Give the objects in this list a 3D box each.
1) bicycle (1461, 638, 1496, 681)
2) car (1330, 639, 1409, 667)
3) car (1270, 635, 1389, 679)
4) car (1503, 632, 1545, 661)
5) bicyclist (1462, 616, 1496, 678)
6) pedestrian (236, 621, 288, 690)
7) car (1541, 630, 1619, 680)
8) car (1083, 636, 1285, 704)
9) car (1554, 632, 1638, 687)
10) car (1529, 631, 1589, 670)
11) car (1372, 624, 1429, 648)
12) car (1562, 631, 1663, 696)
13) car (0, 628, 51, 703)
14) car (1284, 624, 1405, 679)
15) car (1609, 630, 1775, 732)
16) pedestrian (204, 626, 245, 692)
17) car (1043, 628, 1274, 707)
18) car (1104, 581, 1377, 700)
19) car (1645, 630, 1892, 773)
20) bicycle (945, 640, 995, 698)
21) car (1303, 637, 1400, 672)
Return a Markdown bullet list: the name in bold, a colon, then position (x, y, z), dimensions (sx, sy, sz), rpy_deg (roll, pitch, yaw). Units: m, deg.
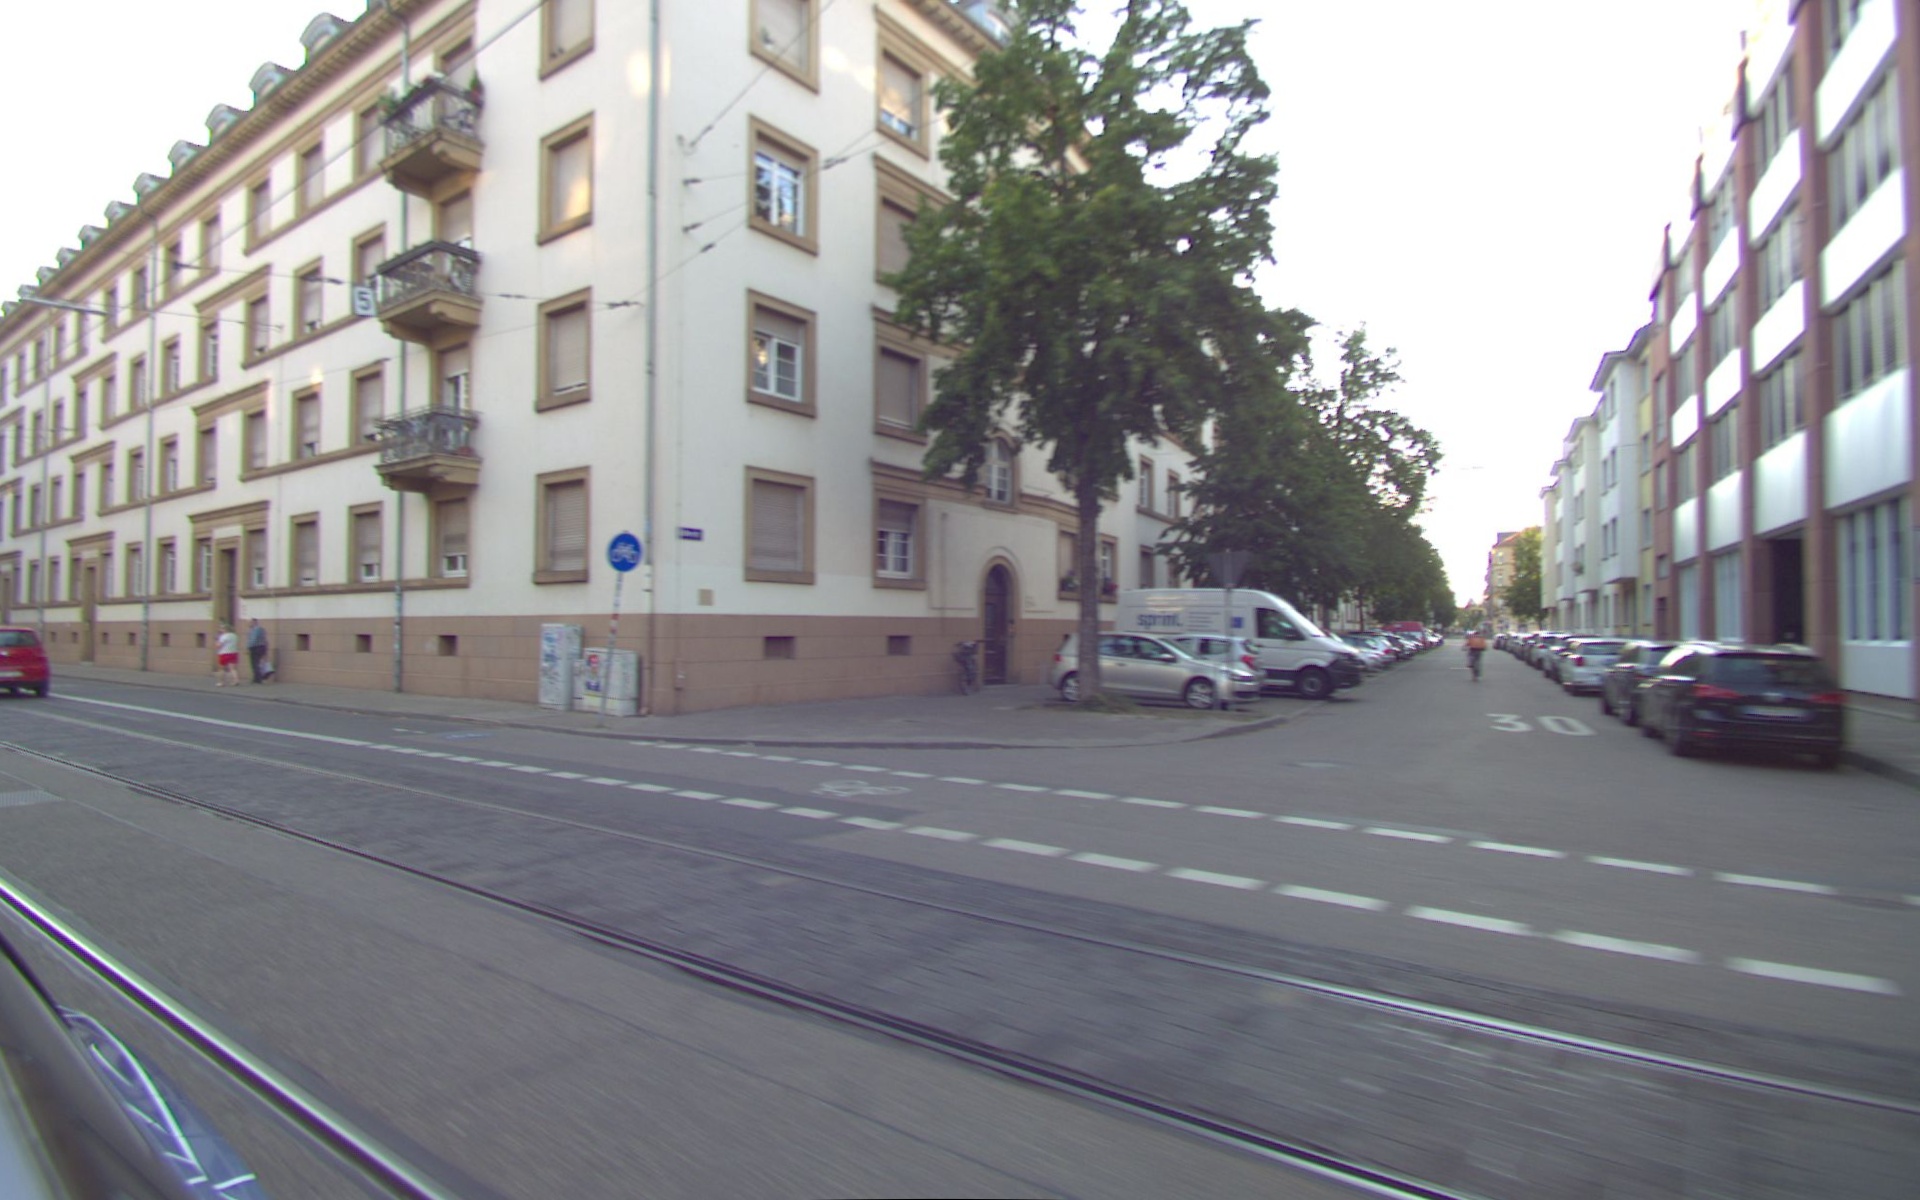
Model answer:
- **bicycle**: position (17.363, 1.967, 33.833), dimensions (0.953, 1.364, 3.150), rpy_deg (-1, -2, 28)
- **car**: position (23.102, 2.991, 57.102), dimensions (3.979, 1.530, 1.809), rpy_deg (-1, -2, 26)
- **car**: position (13.702, 2.089, 37.593), dimensions (3.979, 1.530, 1.809), rpy_deg (-1, -2, 26)
- **car**: position (32.291, 2.658, 57.991), dimensions (1.914, 1.615, 3.963), rpy_deg (-1, -2, 27)
- **bicyclist**: position (17.358, 1.551, 33.849), dimensions (0.943, 2.029, 1.206), rpy_deg (-1, -3, 29)
- **pedestrian**: position (-17.806, 1.391, 25.804), dimensions (0.979, 1.714, 0.788), rpy_deg (-2, -2, 35)
- **car**: position (21.182, 1.852, 34.703), dimensions (1.914, 1.615, 3.963), rpy_deg (-1, -2, 27)
- **car**: position (5.054, 1.536, 22.997), dimensions (4.162, 1.433, 1.777), rpy_deg (-1, -2, 29)
- **car**: position (18.924, 1.727, 30.267), dimensions (1.916, 1.516, 3.959), rpy_deg (-1, -2, 30)
- **car**: position (25.760, 2.150, 43.636), dimensions (1.914, 1.615, 3.963), rpy_deg (-1, -2, 27)
- **car**: position (36.285, 2.985, 83.352), dimensions (4.174, 1.925, 1.894), rpy_deg (-1, -3, 26)
- **car**: position (16.617, 1.577, 25.944), dimensions (1.916, 1.516, 3.959), rpy_deg (-1, -2, 30)
- **car**: position (-21.519, 1.410, 22.162), dimensions (3.746, 1.570, 1.545), rpy_deg (-2, -4, 35)
- **car**: position (15.055, 1.995, 39.658), dimensions (4.255, 2.055, 1.809), rpy_deg (-1, -3, 26)
- **car**: position (12.604, 1.316, 17.668), dimensions (1.916, 1.516, 3.959), rpy_deg (0, -2, 30)
- **pedestrian**: position (-18.458, 1.465, 25.415), dimensions (0.809, 1.622, 0.585), rpy_deg (-2, -2, 35)
- **car**: position (3.980, 1.307, 20.385), dimensions (4.162, 1.433, 1.980), rpy_deg (-1, -2, 29)
- **car**: position (6.759, 0.990, 24.684), dimensions (6.104, 2.609, 2.077), rpy_deg (-1, -2, 29)
- **car**: position (10.335, 1.183, 13.272), dimensions (1.916, 1.516, 3.959), rpy_deg (0, -2, 30)
- **bicycle**: position (0.238, 1.506, 22.357), dimensions (0.599, 1.222, 1.673), rpy_deg (-1, -2, 19)
- **car**: position (17.804, 2.439, 46.072), dimensions (3.979, 1.530, 1.809), rpy_deg (-1, -2, 26)
